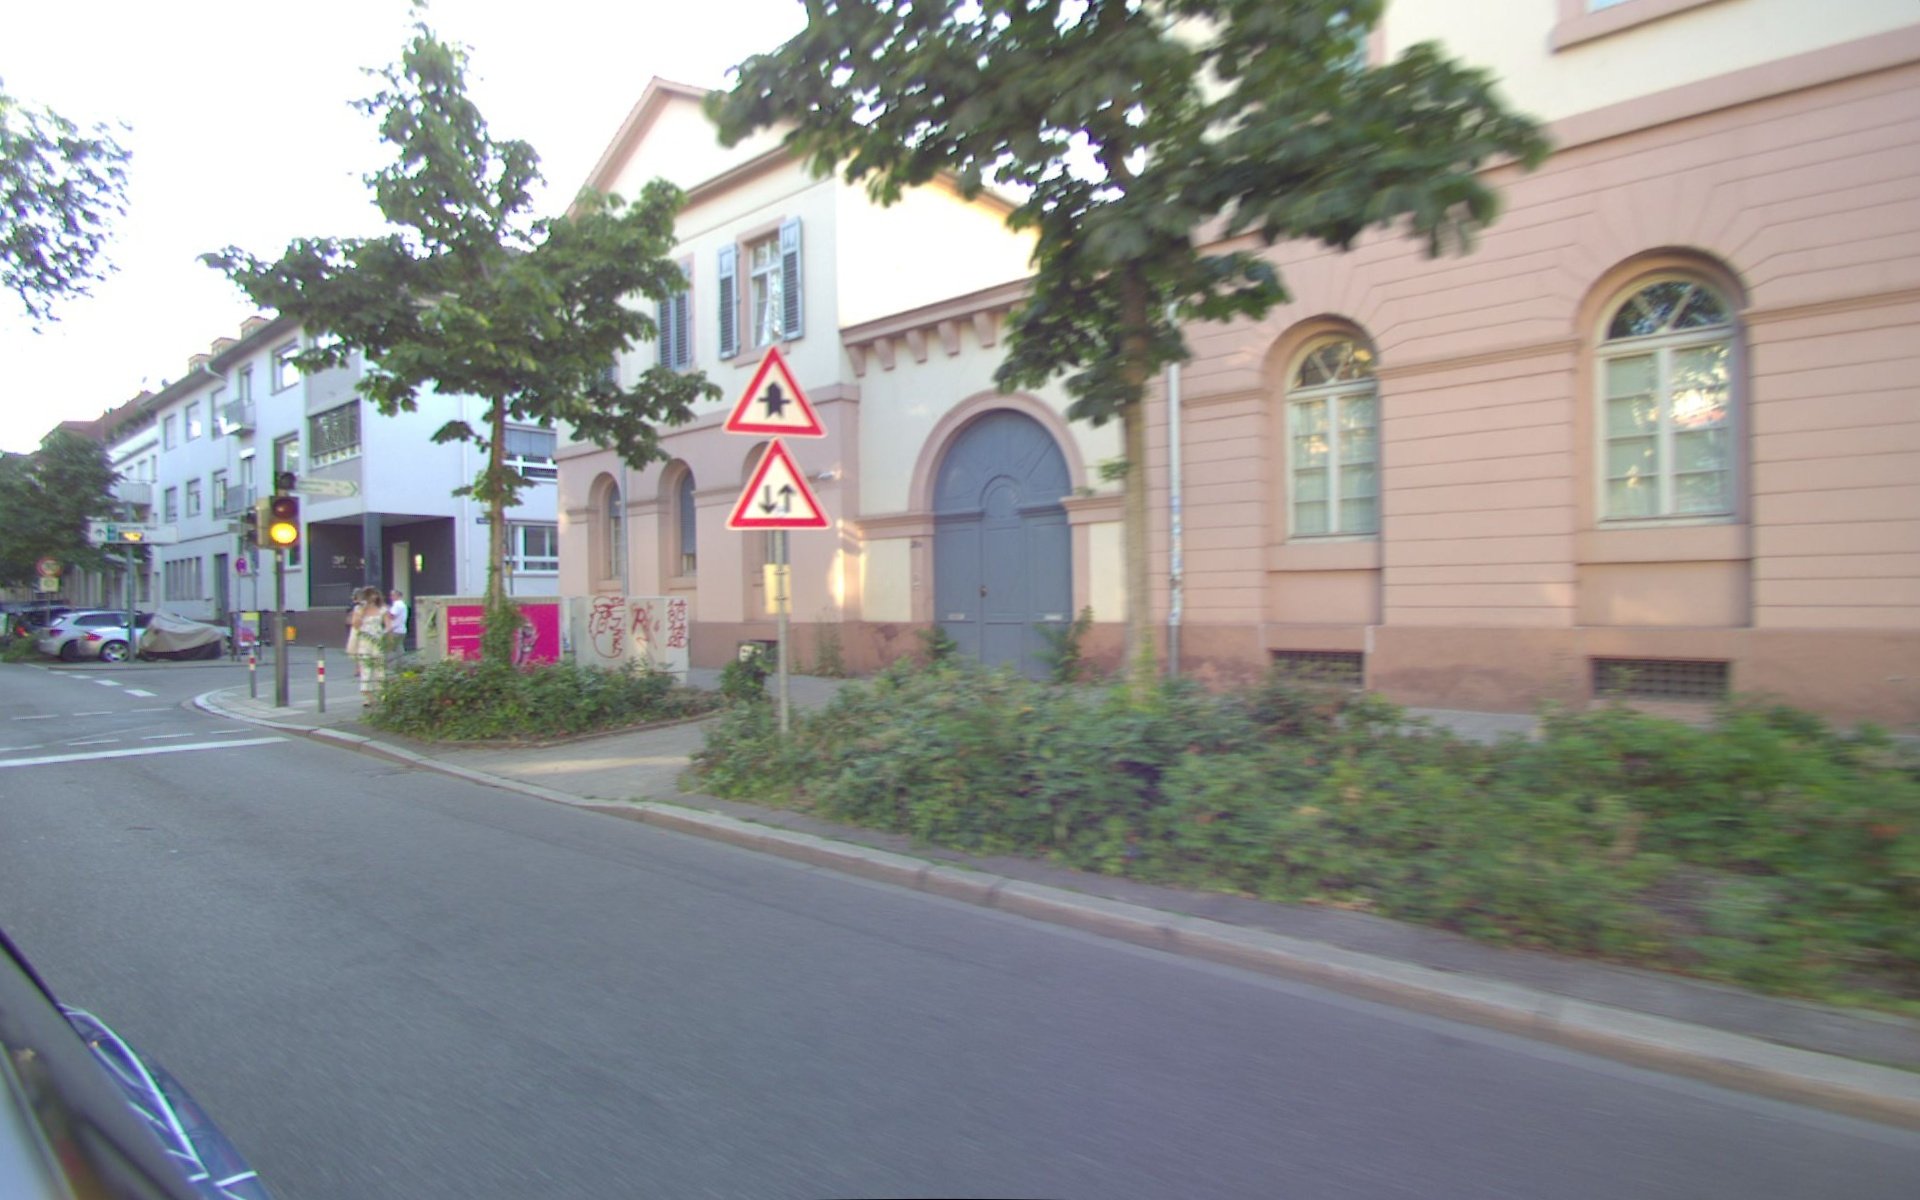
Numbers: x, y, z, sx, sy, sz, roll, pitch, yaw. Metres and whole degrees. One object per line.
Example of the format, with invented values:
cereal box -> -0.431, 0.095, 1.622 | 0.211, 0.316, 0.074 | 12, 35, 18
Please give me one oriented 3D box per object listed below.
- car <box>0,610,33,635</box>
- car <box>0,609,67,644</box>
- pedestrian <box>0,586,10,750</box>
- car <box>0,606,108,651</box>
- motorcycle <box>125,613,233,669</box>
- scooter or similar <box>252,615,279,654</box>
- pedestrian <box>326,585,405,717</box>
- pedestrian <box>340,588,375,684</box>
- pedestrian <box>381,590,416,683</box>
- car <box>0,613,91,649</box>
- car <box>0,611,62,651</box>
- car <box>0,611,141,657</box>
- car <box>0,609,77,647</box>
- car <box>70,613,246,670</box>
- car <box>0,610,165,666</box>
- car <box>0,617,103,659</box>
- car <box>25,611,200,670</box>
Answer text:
car -> -58.607, 1.439, 60.538 | 1.715, 1.417, 4.384 | 0, 2, 37
car -> -47.571, 1.368, 50.464 | 1.929, 1.584, 4.310 | -1, 3, 41
pedestrian -> -11.628, 0.795, 11.684 | 0.789, 1.902, 0.763 | -1, -1, 29
car -> -39.966, 1.223, 43.623 | 2.155, 1.778, 4.618 | -1, 1, 40
motorcycle -> -20.567, 1.057, 26.728 | 2.118, 1.430, 0.971 | 0, 0, -28
scooter or similar -> -23.620, 1.166, 34.411 | 0.509, 1.271, 1.421 | -2, 1, -45
pedestrian -> -8.603, 0.715, 14.676 | 0.779, 1.804, 0.773 | -4, 1, -22
pedestrian -> -11.981, 0.706, 20.108 | 0.546, 1.864, 0.613 | 0, 0, -35
pedestrian -> -11.401, 0.729, 20.549 | 0.546, 1.864, 0.613 | -1, 0, -36
car -> -41.788, 1.397, 45.541 | 1.854, 1.461, 3.806 | -3, 0, 41
car -> -49.652, 1.604, 52.063 | 2.188, 2.006, 4.939 | -2, -1, 40
car -> -33.786, 1.251, 38.348 | 1.754, 1.451, 4.032 | -1, 1, 42
car -> -45.310, 1.385, 48.600 | 1.823, 1.603, 4.112 | -1, 2, 41
car -> -22.751, 1.119, 28.775 | 1.845, 1.321, 3.697 | -1, 2, 45
car -> -29.881, 1.247, 34.533 | 1.935, 1.644, 4.050 | -1, 1, 42
car -> -38.241, 1.553, 41.941 | 1.781, 1.505, 3.984 | -1, 2, 44
car -> -25.208, 1.162, 30.192 | 1.734, 1.469, 3.704 | -1, 2, 40
